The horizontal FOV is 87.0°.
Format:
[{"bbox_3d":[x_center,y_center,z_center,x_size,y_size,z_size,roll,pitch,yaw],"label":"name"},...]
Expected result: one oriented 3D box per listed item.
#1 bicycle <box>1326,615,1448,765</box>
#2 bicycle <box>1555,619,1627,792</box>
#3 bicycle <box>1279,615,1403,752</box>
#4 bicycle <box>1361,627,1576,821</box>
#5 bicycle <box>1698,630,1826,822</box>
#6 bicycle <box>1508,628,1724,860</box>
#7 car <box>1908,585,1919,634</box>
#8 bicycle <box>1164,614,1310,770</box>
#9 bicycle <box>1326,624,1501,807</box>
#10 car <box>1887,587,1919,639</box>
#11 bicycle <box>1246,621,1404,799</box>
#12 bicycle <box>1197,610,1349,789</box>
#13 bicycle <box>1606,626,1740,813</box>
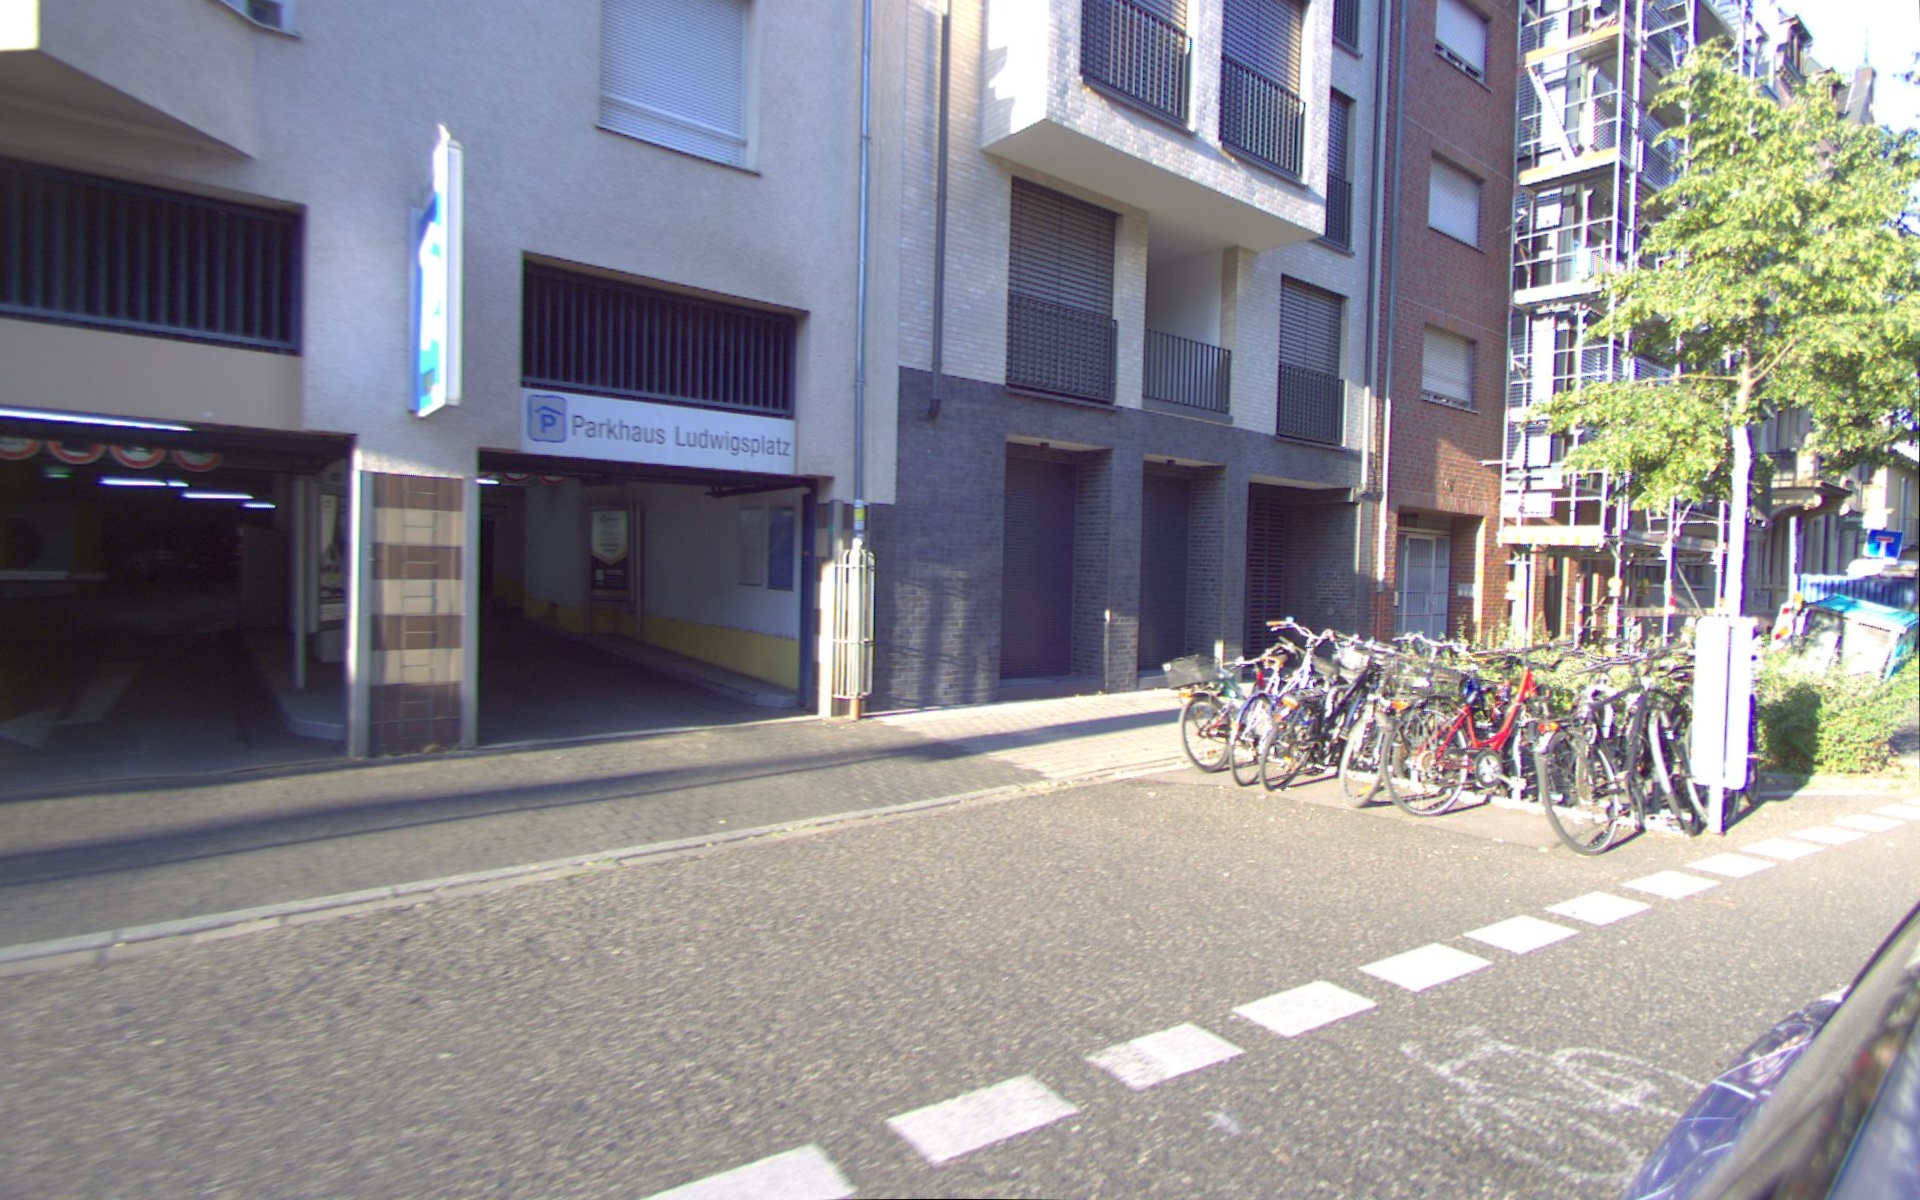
[{"bbox_3d":[3.609,0.705,8.499,0.382,1.114,1.498,3,2,45],"label":"bicycle"},{"bbox_3d":[4.766,0.737,7.686,0.380,1.113,1.507,2,2,30],"label":"bicycle"},{"bbox_3d":[3.483,0.715,9.199,1.497,1.114,0.382,0,2,-42],"label":"bicycle"},{"bbox_3d":[3.270,0.746,6.477,1.492,1.121,0.373,1,2,-27],"label":"bicycle"},{"bbox_3d":[5.442,0.792,6.841,1.497,1.114,0.382,0,2,-41],"label":"bicycle"},{"bbox_3d":[3.792,0.767,5.816,1.534,1.155,0.364,0,2,-30],"label":"bicycle"},{"bbox_3d":[32.083,0.439,30.737,1.876,1.529,4.540,1,3,-38],"label":"car"},{"bbox_3d":[2.283,0.701,8.256,1.497,1.113,0.382,-1,3,-42],"label":"bicycle"},{"bbox_3d":[3.174,0.747,7.026,1.536,1.114,0.383,0,2,-37],"label":"bicycle"},{"bbox_3d":[30.174,0.490,29.331,1.832,1.497,4.543,0,3,-35],"label":"car"},{"bbox_3d":[2.643,0.732,7.247,1.497,1.114,0.382,-1,2,-42],"label":"bicycle"},{"bbox_3d":[2.393,0.692,7.645,1.497,1.204,0.382,-1,1,-42],"label":"bicycle"},{"bbox_3d":[4.915,0.764,6.948,1.497,1.114,0.382,0,2,-41],"label":"bicycle"}]
